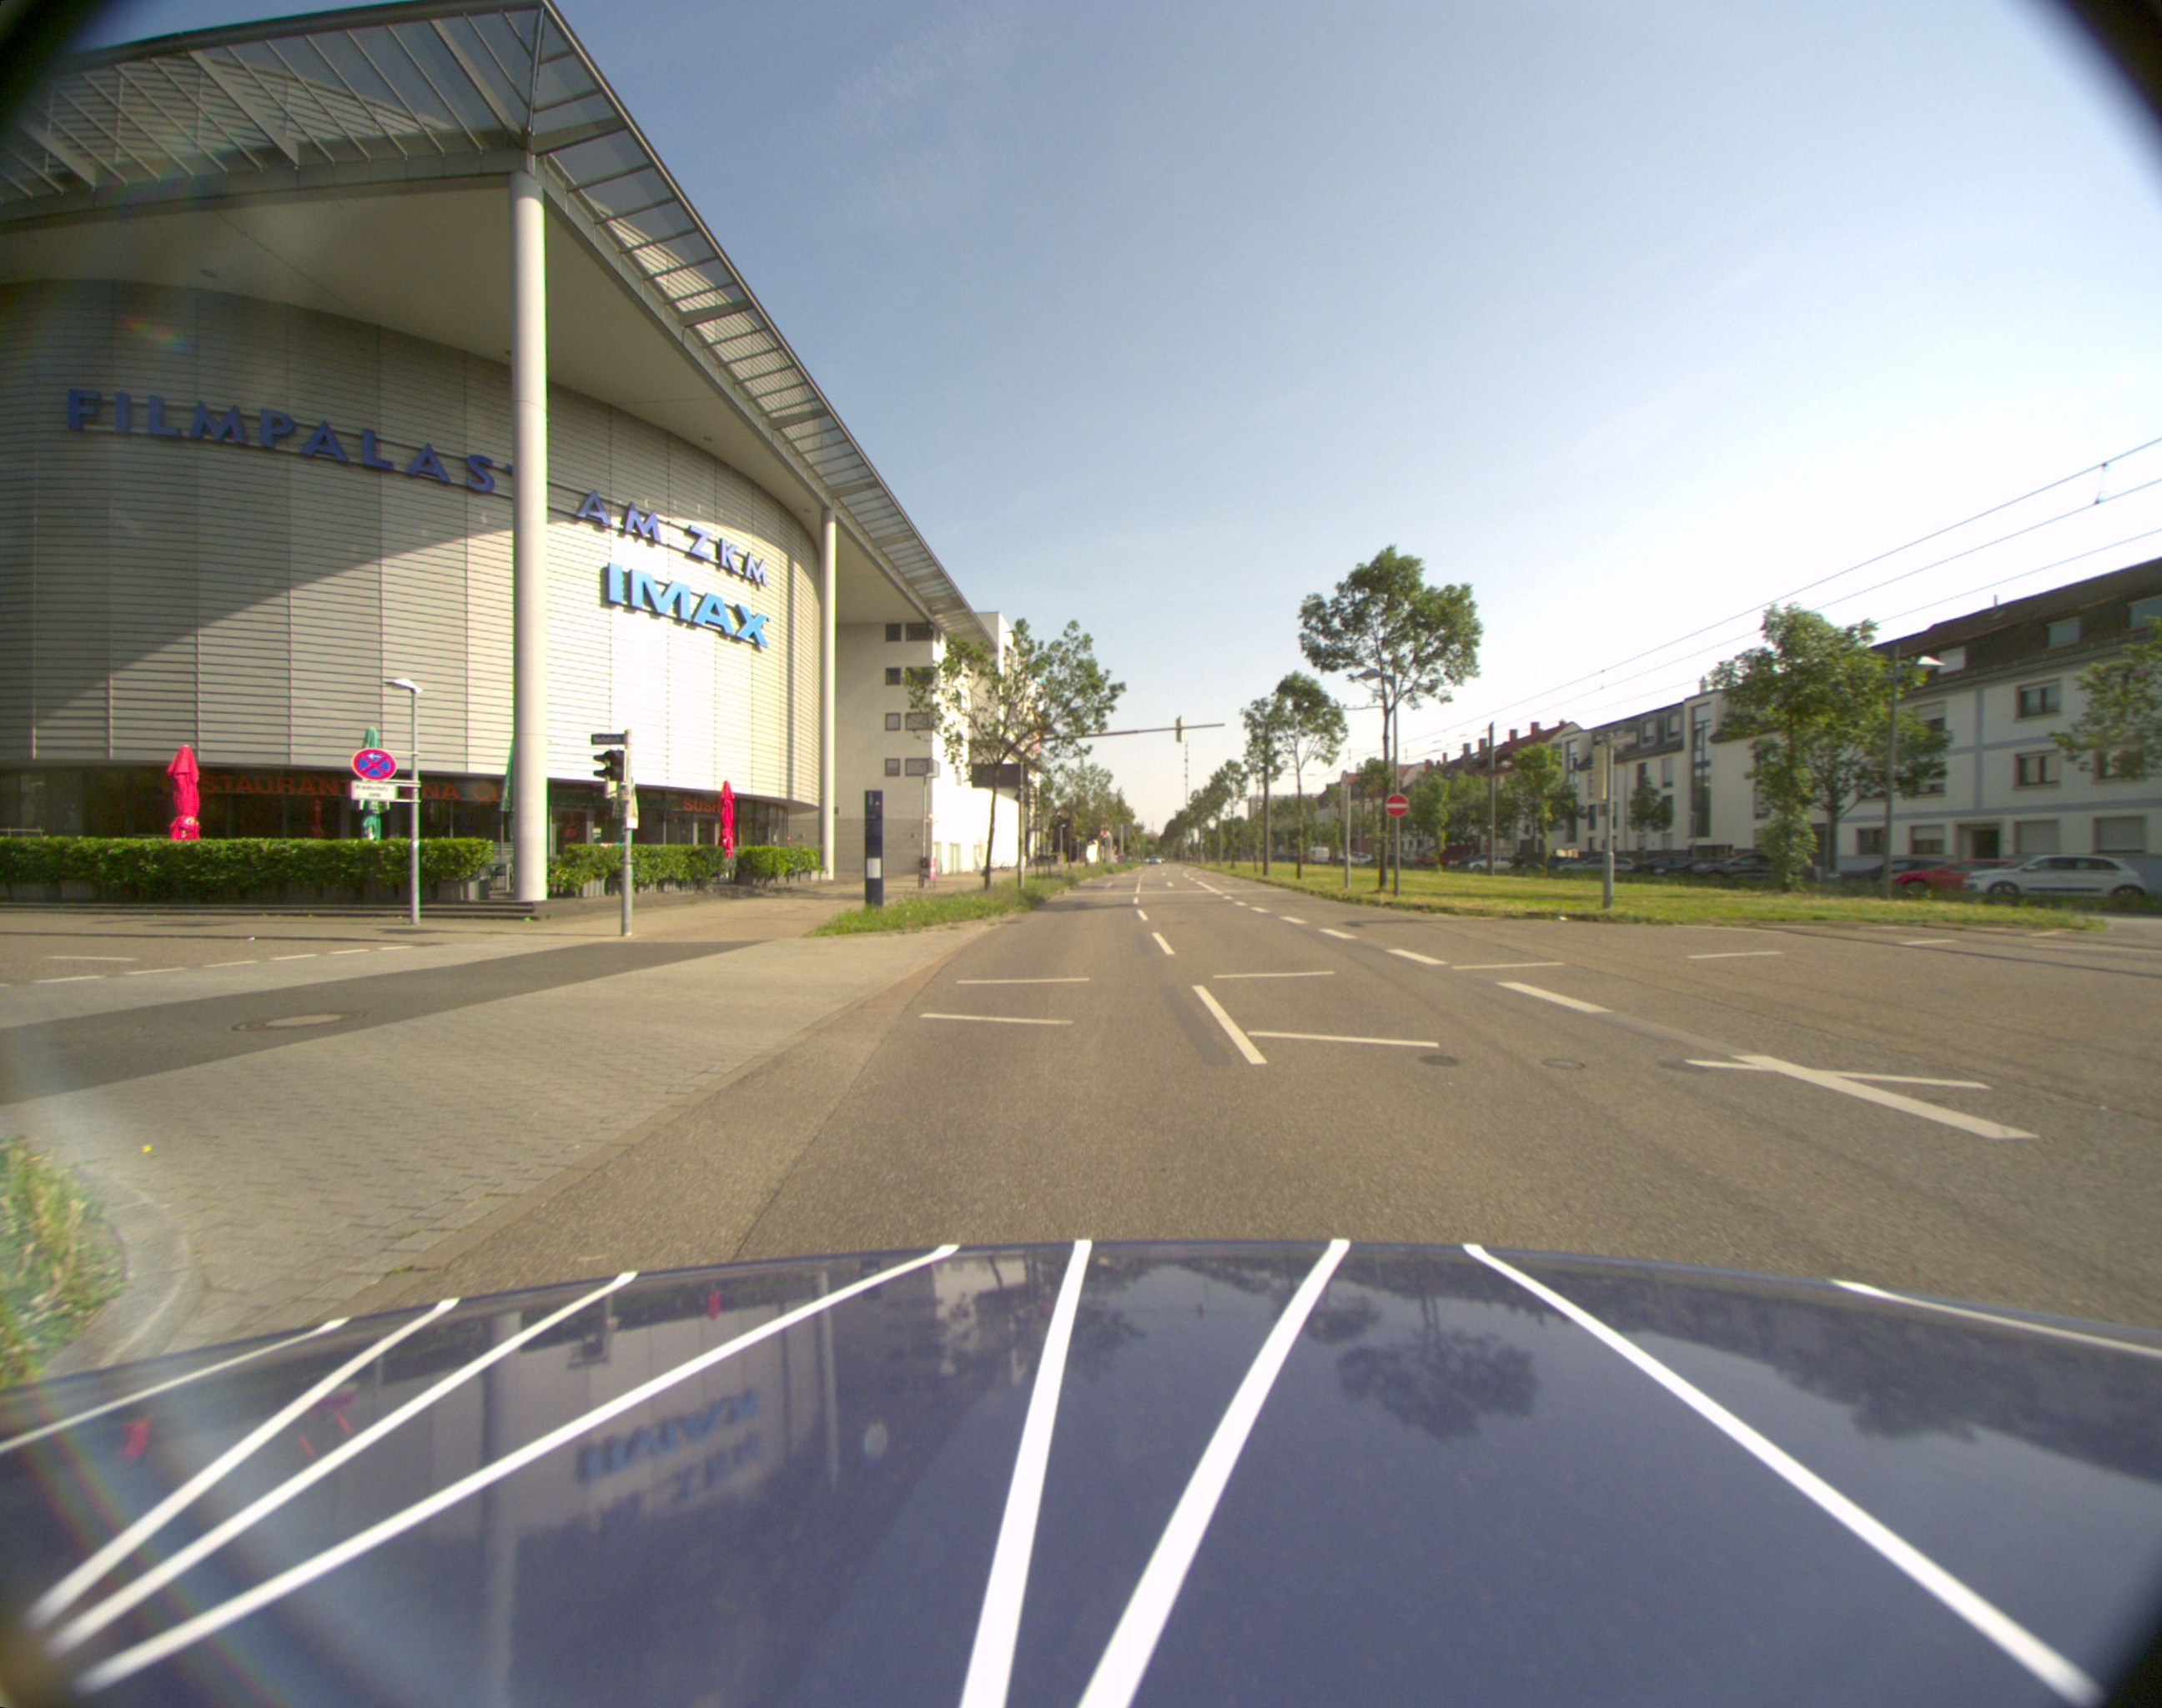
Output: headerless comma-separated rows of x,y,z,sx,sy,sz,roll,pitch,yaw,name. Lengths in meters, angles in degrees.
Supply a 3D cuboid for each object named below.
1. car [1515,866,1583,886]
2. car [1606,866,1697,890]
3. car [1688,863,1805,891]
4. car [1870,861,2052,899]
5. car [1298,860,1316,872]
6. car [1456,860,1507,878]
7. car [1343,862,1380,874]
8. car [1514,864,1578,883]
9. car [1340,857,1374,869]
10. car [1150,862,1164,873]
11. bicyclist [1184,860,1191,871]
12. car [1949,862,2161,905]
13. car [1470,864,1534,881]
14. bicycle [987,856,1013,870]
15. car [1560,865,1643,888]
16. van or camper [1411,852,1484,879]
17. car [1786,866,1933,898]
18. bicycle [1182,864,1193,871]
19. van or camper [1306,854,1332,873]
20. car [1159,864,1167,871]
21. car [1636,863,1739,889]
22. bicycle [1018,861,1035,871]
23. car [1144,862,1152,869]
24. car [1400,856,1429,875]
33.317,1.573,54.152,3.989,1.368,1.931,-2,-1,32,car
32.581,1.366,43.531,3.989,1.280,2.004,0,0,31,car
32.510,1.124,37.301,4.048,1.280,2.004,-2,-1,32,car
31.739,0.949,27.605,3.989,1.251,1.880,-2,-1,38,car
33.867,1.751,113.924,1.819,1.727,4.163,0,0,6,car
34.947,1.312,66.321,3.711,1.426,1.645,-2,-1,38,car
38.724,1.924,104.841,4.354,1.466,1.861,-2,-1,42,car
34.509,1.413,56.454,3.989,1.368,1.840,0,0,32,car
39.056,1.304,107.573,4.088,1.520,1.817,-2,-1,42,car
11.359,2.011,113.883,1.998,1.652,4.002,0,-1,5,car
16.949,1.817,120.952,0.869,1.812,0.909,0,0,15,bicyclist
31.432,0.960,24.638,3.989,1.262,1.890,-2,-1,35,car
34.860,1.533,63.018,4.387,1.312,1.738,-2,-1,38,car
-6.603,0.725,61.803,2.012,1.096,0.676,0,0,9,bicycle
34.045,1.461,49.876,4.328,1.368,2.004,-2,-1,31,car
36.531,1.154,75.816,6.144,2.531,2.419,-1,-1,43,van or camper
31.699,1.145,31.103,3.989,1.227,1.703,-2,-1,38,car
16.953,2.179,120.898,1.749,1.139,0.577,0,0,15,bicycle
33.518,1.333,107.030,2.146,2.459,6.061,2,0,5,van or camper
21.992,3.599,204.158,1.998,1.652,4.002,0,-1,5,car
32.069,1.181,40.317,3.989,1.280,2.004,-2,-1,31,car
-5.512,1.213,76.759,1.660,0.910,0.483,0,0,5,bicycle
15.904,2.802,180.097,1.998,1.652,4.002,0,-1,5,car
44.932,1.582,102.464,1.997,2.448,5.581,-2,-1,6,car
